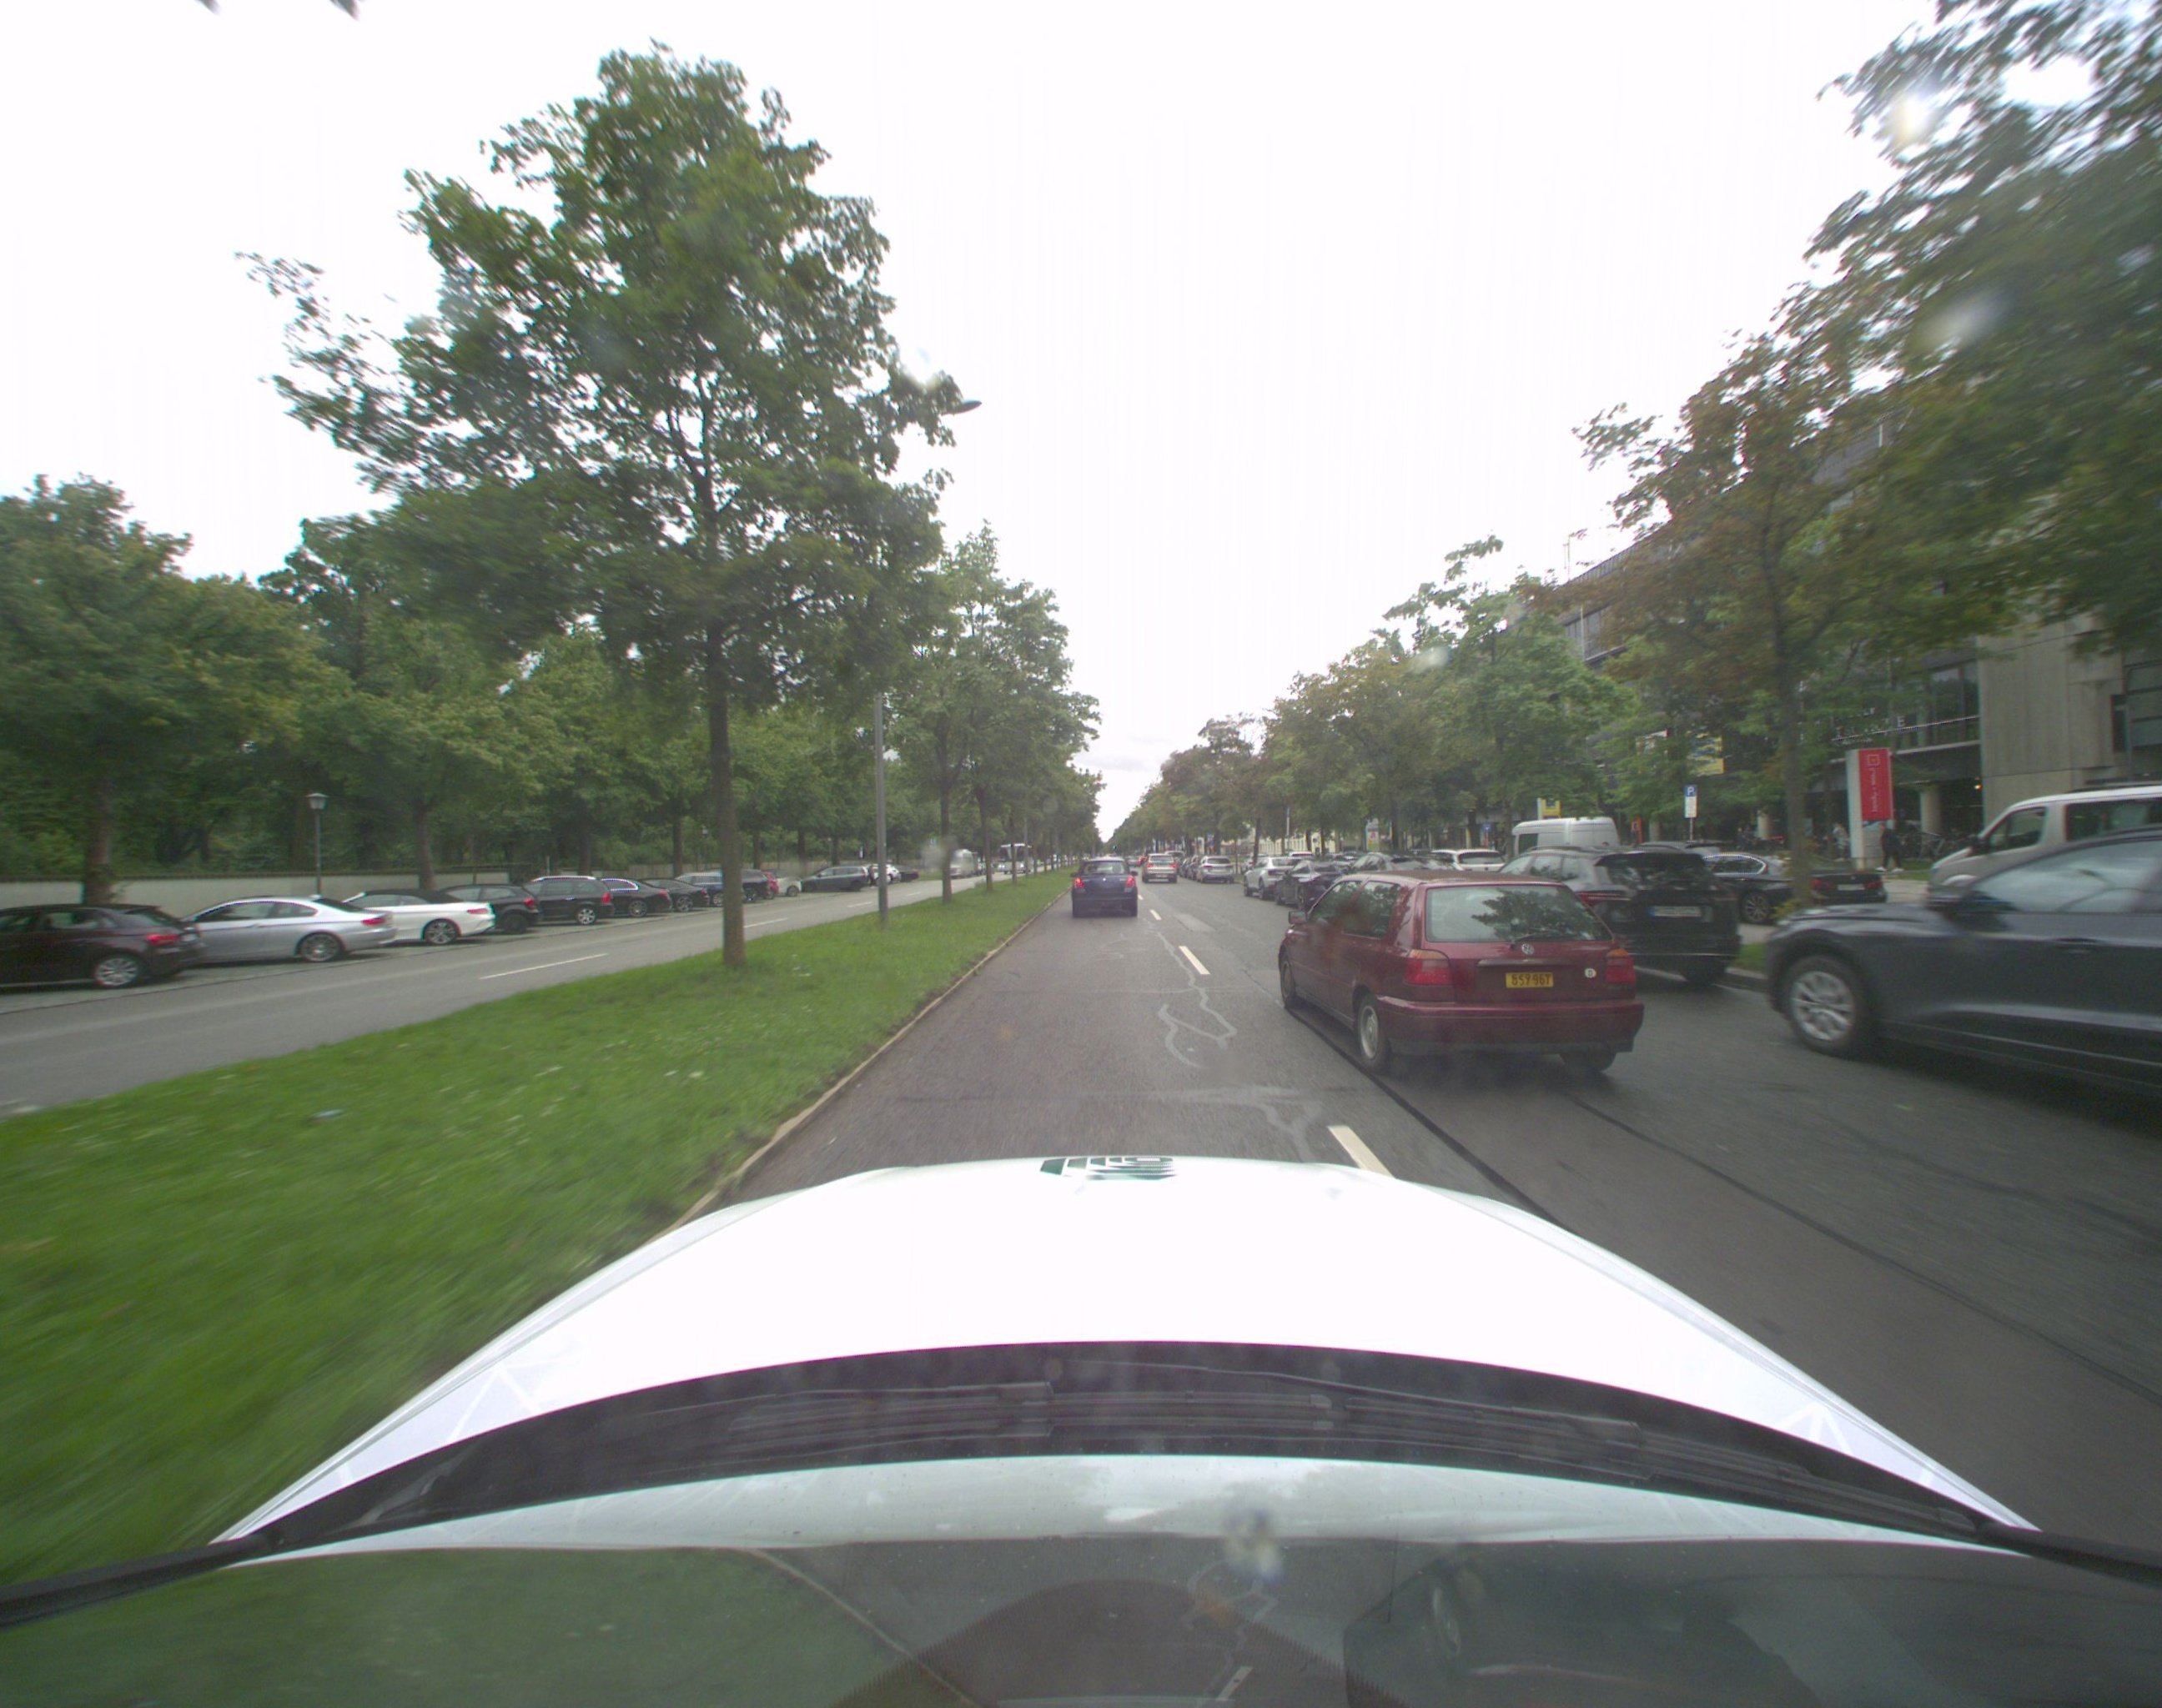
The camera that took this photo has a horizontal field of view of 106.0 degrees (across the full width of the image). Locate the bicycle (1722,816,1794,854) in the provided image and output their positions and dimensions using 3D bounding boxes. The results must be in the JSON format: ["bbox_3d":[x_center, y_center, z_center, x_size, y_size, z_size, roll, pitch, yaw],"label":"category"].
[{"bbox_3d":[29.288,-0.815,35.236,2.607,1.508,0.796,-2,0,-8],"label":"bicycle"}]

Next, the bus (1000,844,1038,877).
[{"bbox_3d":[-7.028,0.710,94.084,2.727,3.377,12.020,-3,0,3],"label":"bus"}]

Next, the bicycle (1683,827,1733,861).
[{"bbox_3d":[29.277,-0.488,38.005,2.625,1.508,0.791,-2,0,-29],"label":"bicycle"}]

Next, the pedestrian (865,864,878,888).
[{"bbox_3d":[-14.548,1.502,56.480,0.723,1.612,0.678,-2,-1,-6],"label":"pedestrian"}]

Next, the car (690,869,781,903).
[{"bbox_3d":[-17.640,1.605,41.592,4.119,1.501,1.901,-2,0,-29],"label":"car"}]

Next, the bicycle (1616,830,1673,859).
[{"bbox_3d":[30.632,-0.502,44.281,2.605,1.508,0.797,-2,0,-5],"label":"bicycle"}]

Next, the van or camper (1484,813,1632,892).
[{"bbox_3d":[17.218,-0.037,29.861,2.016,2.558,5.959,-2,0,2],"label":"van or camper"}]

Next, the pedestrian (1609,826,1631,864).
[{"bbox_3d":[26.305,-0.423,39.732,0.676,1.830,0.541,-2,-1,-10],"label":"pedestrian"}]

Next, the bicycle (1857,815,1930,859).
[{"bbox_3d":[29.215,-0.606,29.285,2.619,1.508,0.793,-2,0,-20],"label":"bicycle"}]

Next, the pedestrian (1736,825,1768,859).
[{"bbox_3d":[32.030,-0.559,38.903,0.685,1.579,0.972,-2,0,2],"label":"pedestrian"}]

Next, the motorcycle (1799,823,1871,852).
[{"bbox_3d":[33.304,-0.714,36.019,0.943,1.197,2.367,-2,0,0],"label":"motorcycle"}]

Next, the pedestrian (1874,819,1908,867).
[{"bbox_3d":[25.613,-0.349,25.759,0.394,1.477,0.679,-2,-1,9],"label":"pedestrian"}]

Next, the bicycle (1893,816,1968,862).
[{"bbox_3d":[29.562,-0.521,28.332,2.619,1.508,0.793,-2,0,-20],"label":"bicycle"}]

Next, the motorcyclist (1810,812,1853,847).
[{"bbox_3d":[33.286,-1.066,36.151,0.938,1.477,0.984,-2,0,0],"label":"motorcyclist"}]

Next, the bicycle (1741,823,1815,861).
[{"bbox_3d":[29.385,-0.503,34.361,2.607,1.508,0.796,-2,0,-8],"label":"bicycle"}]

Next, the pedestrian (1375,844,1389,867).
[{"bbox_3d":[22.927,0.092,61.967,0.745,1.706,0.702,-2,0,2],"label":"pedestrian"}]

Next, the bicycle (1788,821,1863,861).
[{"bbox_3d":[29.603,-0.525,32.388,2.612,1.508,0.795,-2,0,-12],"label":"bicycle"}]

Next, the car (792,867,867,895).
[{"bbox_3d":[-15.875,1.671,51.477,4.199,1.542,1.901,-2,0,-29],"label":"car"}]

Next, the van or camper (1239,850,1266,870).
[{"bbox_3d":[17.740,0.569,84.412,1.937,1.975,4.309,-2,0,3],"label":"van or camper"}]

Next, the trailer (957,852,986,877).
[{"bbox_3d":[-11.754,1.103,87.833,2.098,2.540,5.579,-2,0,2],"label":"trailer"}]

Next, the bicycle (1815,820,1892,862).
[{"bbox_3d":[29.846,-0.502,31.467,2.612,1.508,0.795,-2,0,-12],"label":"bicycle"}]

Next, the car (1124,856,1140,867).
[{"bbox_3d":[6.880,1.019,110.095,1.844,1.447,4.097,-2,0,0],"label":"car"}]

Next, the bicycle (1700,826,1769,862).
[{"bbox_3d":[29.201,-0.465,36.386,2.607,1.508,0.796,-2,0,-8],"label":"bicycle"}]

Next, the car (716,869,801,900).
[{"bbox_3d":[-17.708,1.652,44.744,4.119,1.501,1.901,-2,0,-29],"label":"car"}]

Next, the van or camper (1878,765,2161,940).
[{"bbox_3d":[16.805,-0.046,13.227,1.986,2.558,5.959,-2,0,2],"label":"van or camper"}]

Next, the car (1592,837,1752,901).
[{"bbox_3d":[17.065,0.400,23.773,1.742,1.664,4.009,-2,0,0],"label":"car"}]

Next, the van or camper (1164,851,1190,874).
[{"bbox_3d":[8.657,0.742,73.855,1.937,1.975,4.309,-2,0,3],"label":"van or camper"}]

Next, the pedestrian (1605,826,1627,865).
[{"bbox_3d":[25.753,-0.408,39.203,0.557,1.830,0.679,-2,-1,-9],"label":"pedestrian"}]

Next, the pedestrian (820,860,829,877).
[{"bbox_3d":[-24.957,1.450,79.170,0.682,1.612,0.685,-2,-1,-29],"label":"pedestrian"}]

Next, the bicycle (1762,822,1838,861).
[{"bbox_3d":[29.522,-0.523,33.452,2.607,1.508,0.796,-2,0,-8],"label":"bicycle"}]

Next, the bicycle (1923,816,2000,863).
[{"bbox_3d":[29.686,-0.494,27.449,2.619,1.508,0.793,-2,0,-20],"label":"bicycle"}]

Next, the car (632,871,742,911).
[{"bbox_3d":[-17.131,1.574,35.452,4.122,1.470,1.900,-2,0,-32],"label":"car"}]

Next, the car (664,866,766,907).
[{"bbox_3d":[-17.160,1.491,38.220,4.122,1.679,1.900,-2,0,-32],"label":"car"}]

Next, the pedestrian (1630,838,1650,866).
[{"bbox_3d":[26.511,-0.088,38.622,0.557,1.313,0.549,-2,-1,-10],"label":"pedestrian"}]

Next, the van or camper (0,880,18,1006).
[{"bbox_3d":[-17.353,1.350,10.458,4.146,1.854,1.829,-2,0,-39],"label":"van or camper"}]

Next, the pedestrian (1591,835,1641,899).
[{"bbox_3d":[15.959,0.381,24.321,0.872,1.851,0.903,0,0,0],"label":"pedestrian"}]
